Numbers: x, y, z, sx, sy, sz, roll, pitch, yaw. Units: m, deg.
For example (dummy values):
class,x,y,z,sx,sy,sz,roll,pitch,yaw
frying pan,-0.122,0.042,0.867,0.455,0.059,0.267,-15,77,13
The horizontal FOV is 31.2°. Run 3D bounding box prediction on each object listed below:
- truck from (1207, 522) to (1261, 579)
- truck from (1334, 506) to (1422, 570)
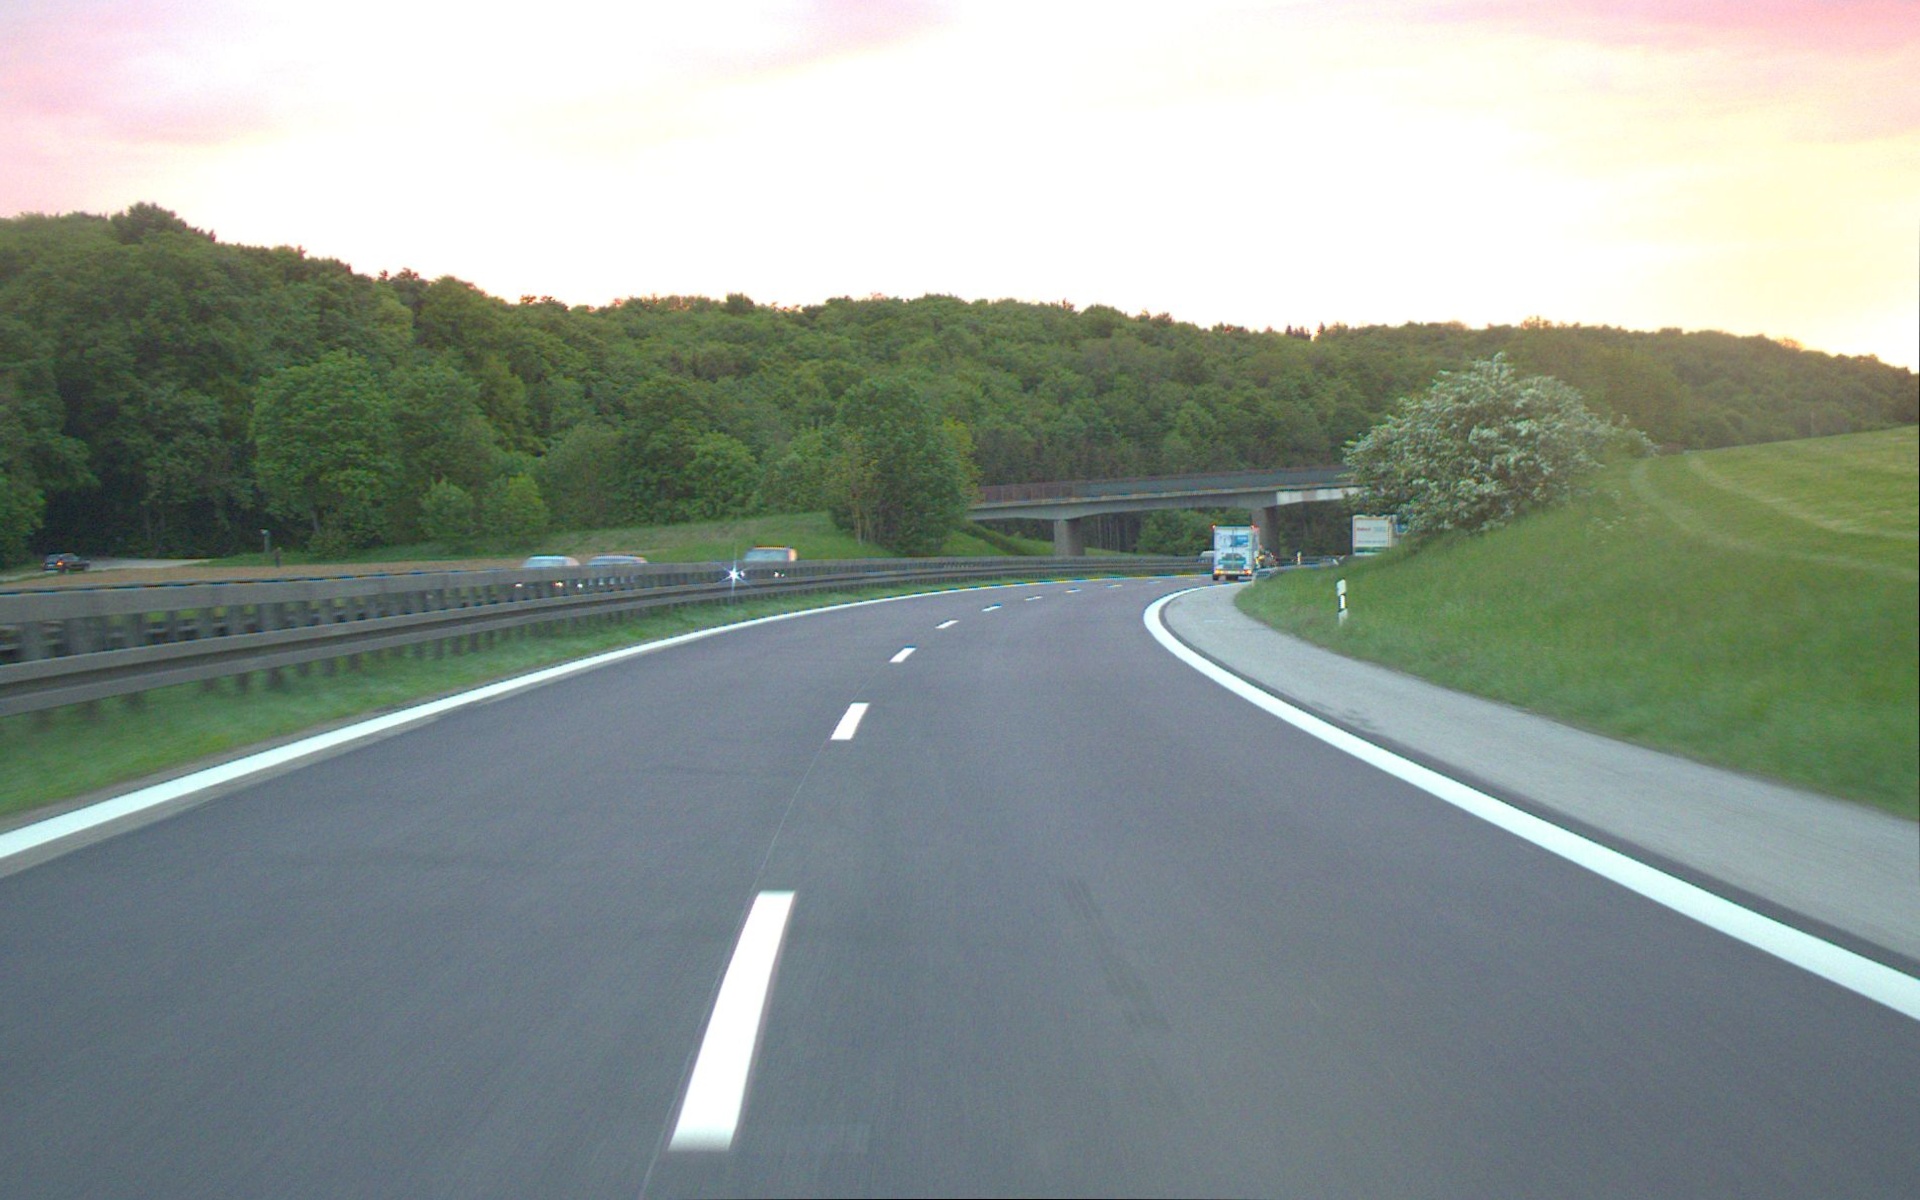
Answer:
class,x,y,z,sx,sy,sz,roll,pitch,yaw
truck,13.441,-2.446,168.397,2.276,2.656,5.235,-2,1,7
truck,28.963,-4.233,237.418,3.961,4.272,14.313,-1,1,15
